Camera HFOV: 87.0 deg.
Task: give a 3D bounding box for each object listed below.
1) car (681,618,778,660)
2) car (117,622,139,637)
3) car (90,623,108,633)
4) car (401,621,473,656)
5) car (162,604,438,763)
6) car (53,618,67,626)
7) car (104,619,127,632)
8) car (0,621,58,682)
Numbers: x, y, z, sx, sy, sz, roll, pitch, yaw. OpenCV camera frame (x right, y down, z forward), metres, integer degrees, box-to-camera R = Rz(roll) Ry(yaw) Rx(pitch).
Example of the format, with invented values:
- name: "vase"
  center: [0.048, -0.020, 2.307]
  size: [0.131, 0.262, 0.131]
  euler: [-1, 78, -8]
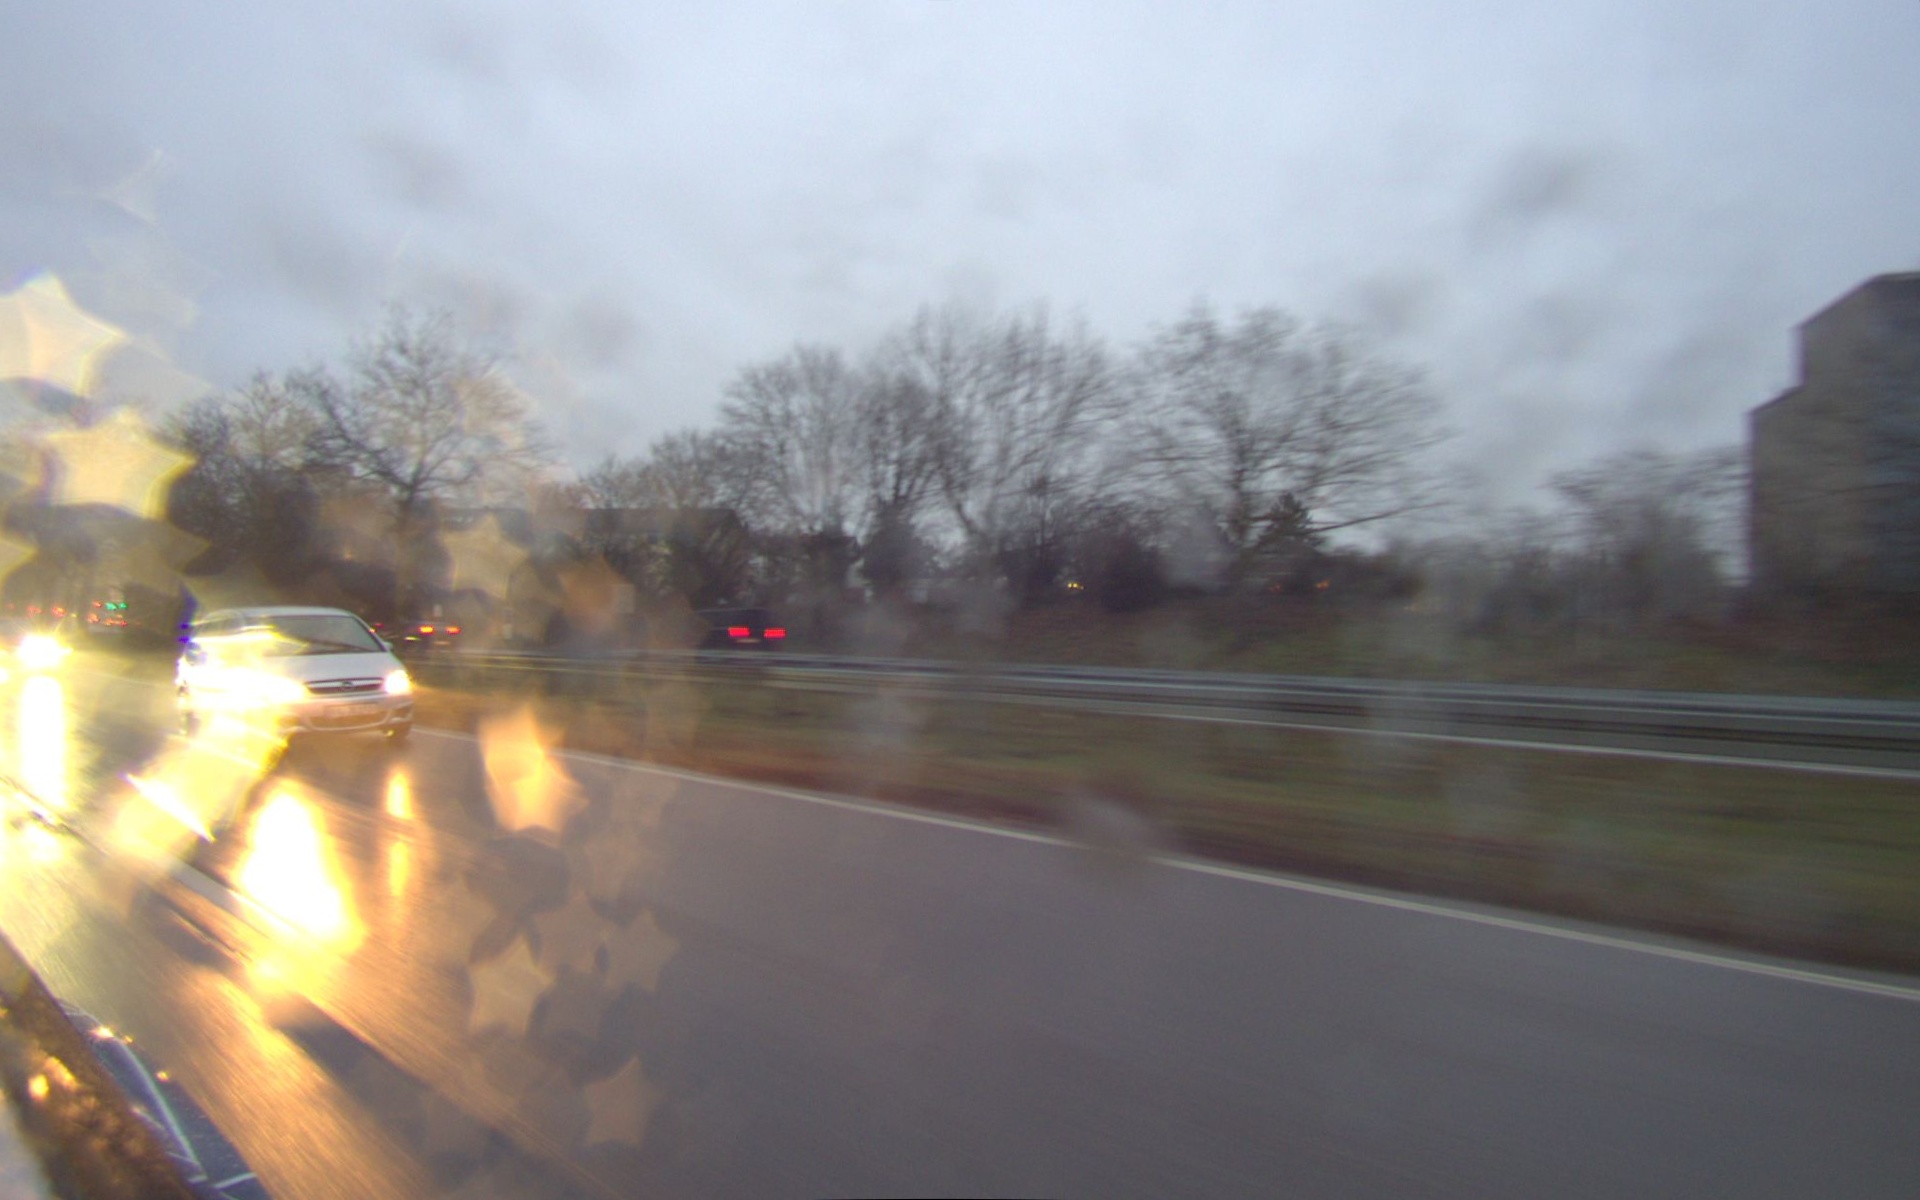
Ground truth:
- name: "car"
  center: [-9.688, 1.591, 42.369]
  size: [1.763, 1.621, 4.685]
  euler: [1, -1, -44]
- name: "car"
  center: [-97.892, 3.470, 119.063]
  size: [3.982, 1.694, 1.599]
  euler: [-1, -2, 44]
- name: "car"
  center: [-121.571, 3.906, 142.873]
  size: [3.957, 1.364, 1.630]
  euler: [0, -1, 44]
- name: "car"
  center: [-24.692, 1.767, 47.720]
  size: [1.763, 1.545, 4.381]
  euler: [1, -1, -45]
- name: "car"
  center: [-8.103, 0.868, 12.279]
  size: [4.163, 1.611, 1.743]
  euler: [0, -1, 41]
- name: "car"
  center: [-158.038, 3.867, 177.759]
  size: [3.958, 1.338, 1.520]
  euler: [-1, -1, 44]
- name: "car"
  center: [-110.334, 3.324, 132.198]
  size: [4.379, 1.545, 1.763]
  euler: [-1, -1, 44]
- name: "car"
  center: [-26.456, 1.370, 27.855]
  size: [4.145, 1.542, 2.000]
  euler: [0, -1, 42]
